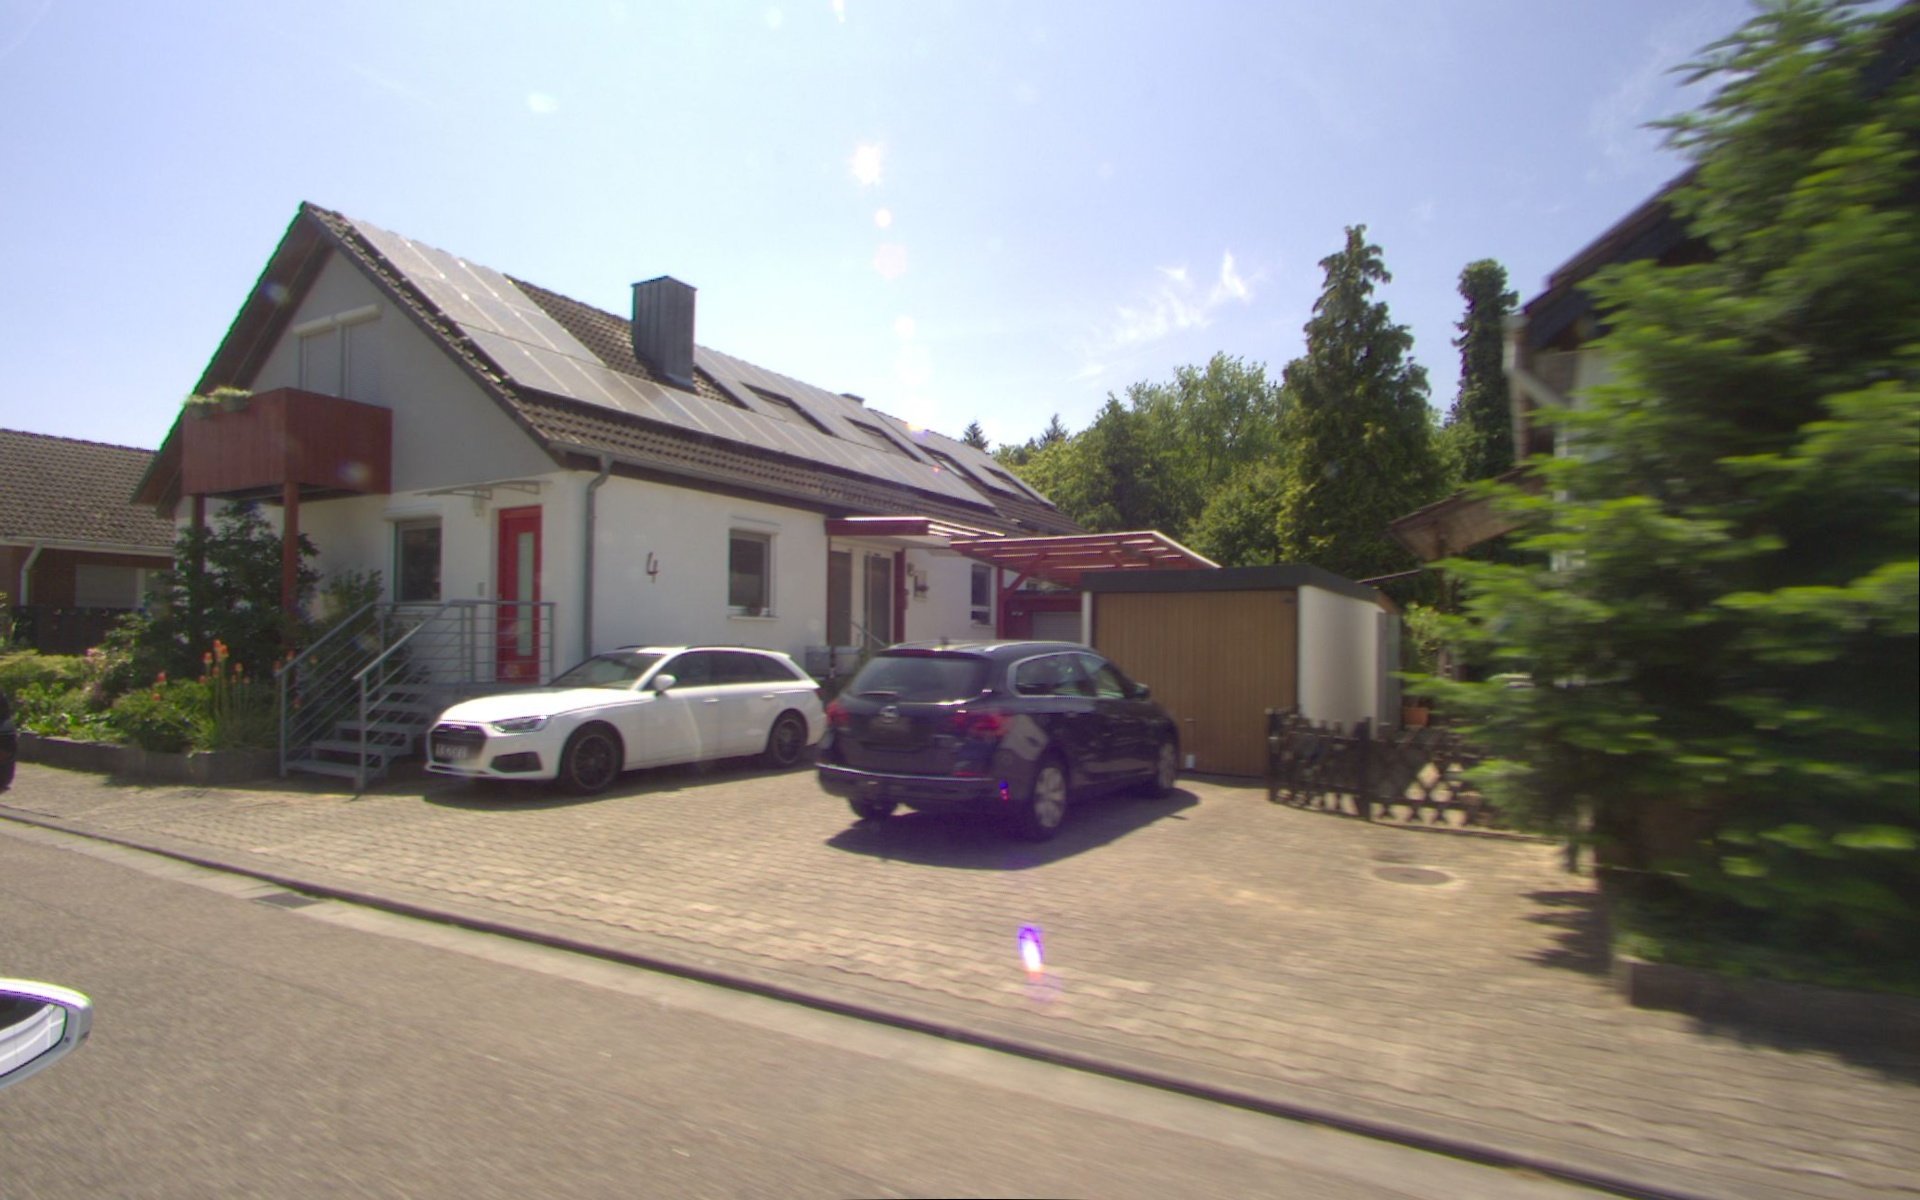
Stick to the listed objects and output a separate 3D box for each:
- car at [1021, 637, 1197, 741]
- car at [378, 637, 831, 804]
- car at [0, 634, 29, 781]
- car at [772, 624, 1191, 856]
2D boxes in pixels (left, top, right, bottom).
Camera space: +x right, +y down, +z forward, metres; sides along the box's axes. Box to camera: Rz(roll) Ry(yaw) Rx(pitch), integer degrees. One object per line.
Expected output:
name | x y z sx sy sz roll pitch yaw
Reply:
car | 2.746 1.460 17.604 1.842 1.587 4.055 -1 -2 28
car | -3.607 1.152 11.083 1.923 1.414 4.531 0 -3 32
car | -11.391 1.069 10.341 3.598 1.458 1.648 -1 -2 31
car | 0.478 1.001 8.902 1.970 1.505 4.237 0 -2 29
